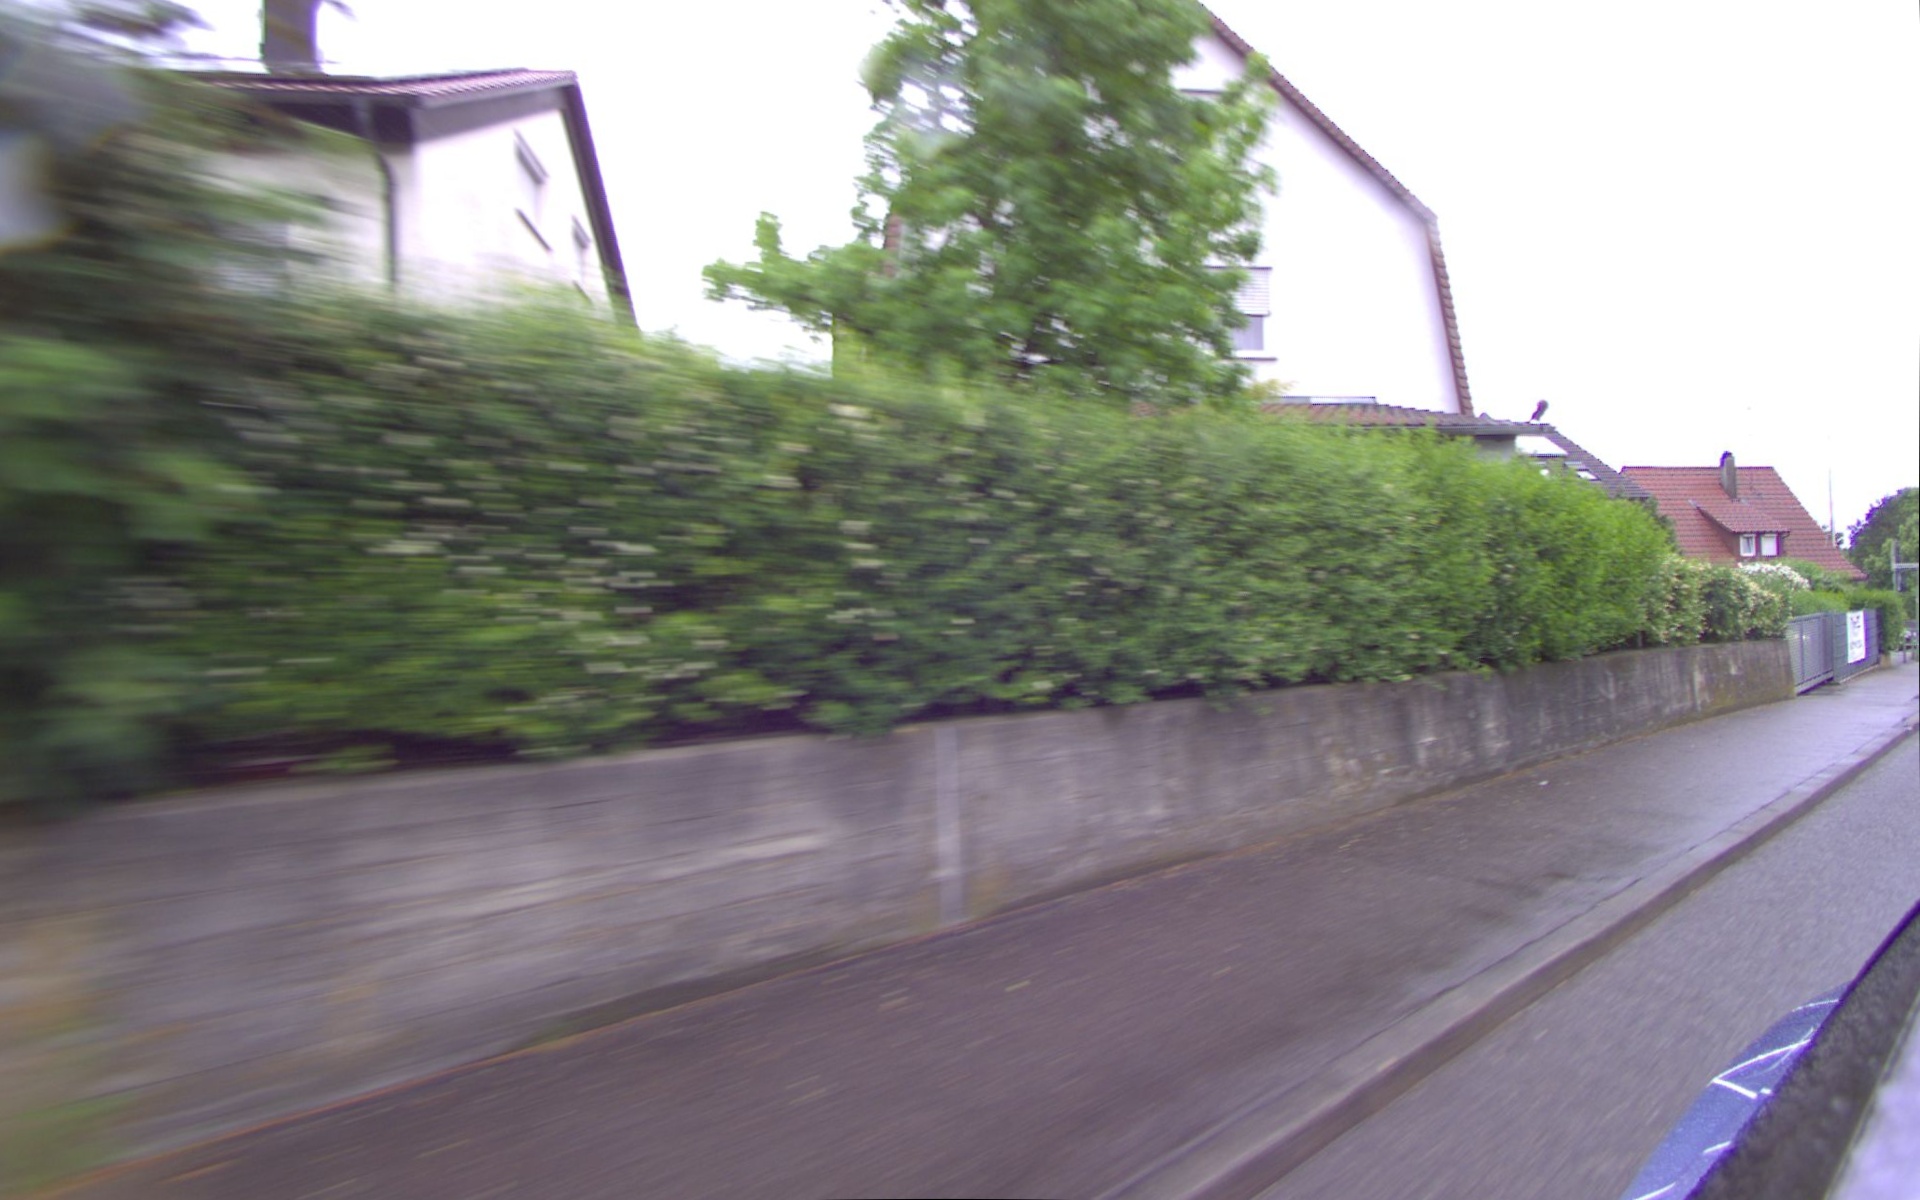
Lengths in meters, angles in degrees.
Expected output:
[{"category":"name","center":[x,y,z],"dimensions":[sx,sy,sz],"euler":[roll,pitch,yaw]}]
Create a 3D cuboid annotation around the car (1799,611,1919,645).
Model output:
[{"category":"car","center":[41.482,1.318,46.149],"dimensions":[1.958,1.402,4.579],"euler":[2,-3,-22]}]
